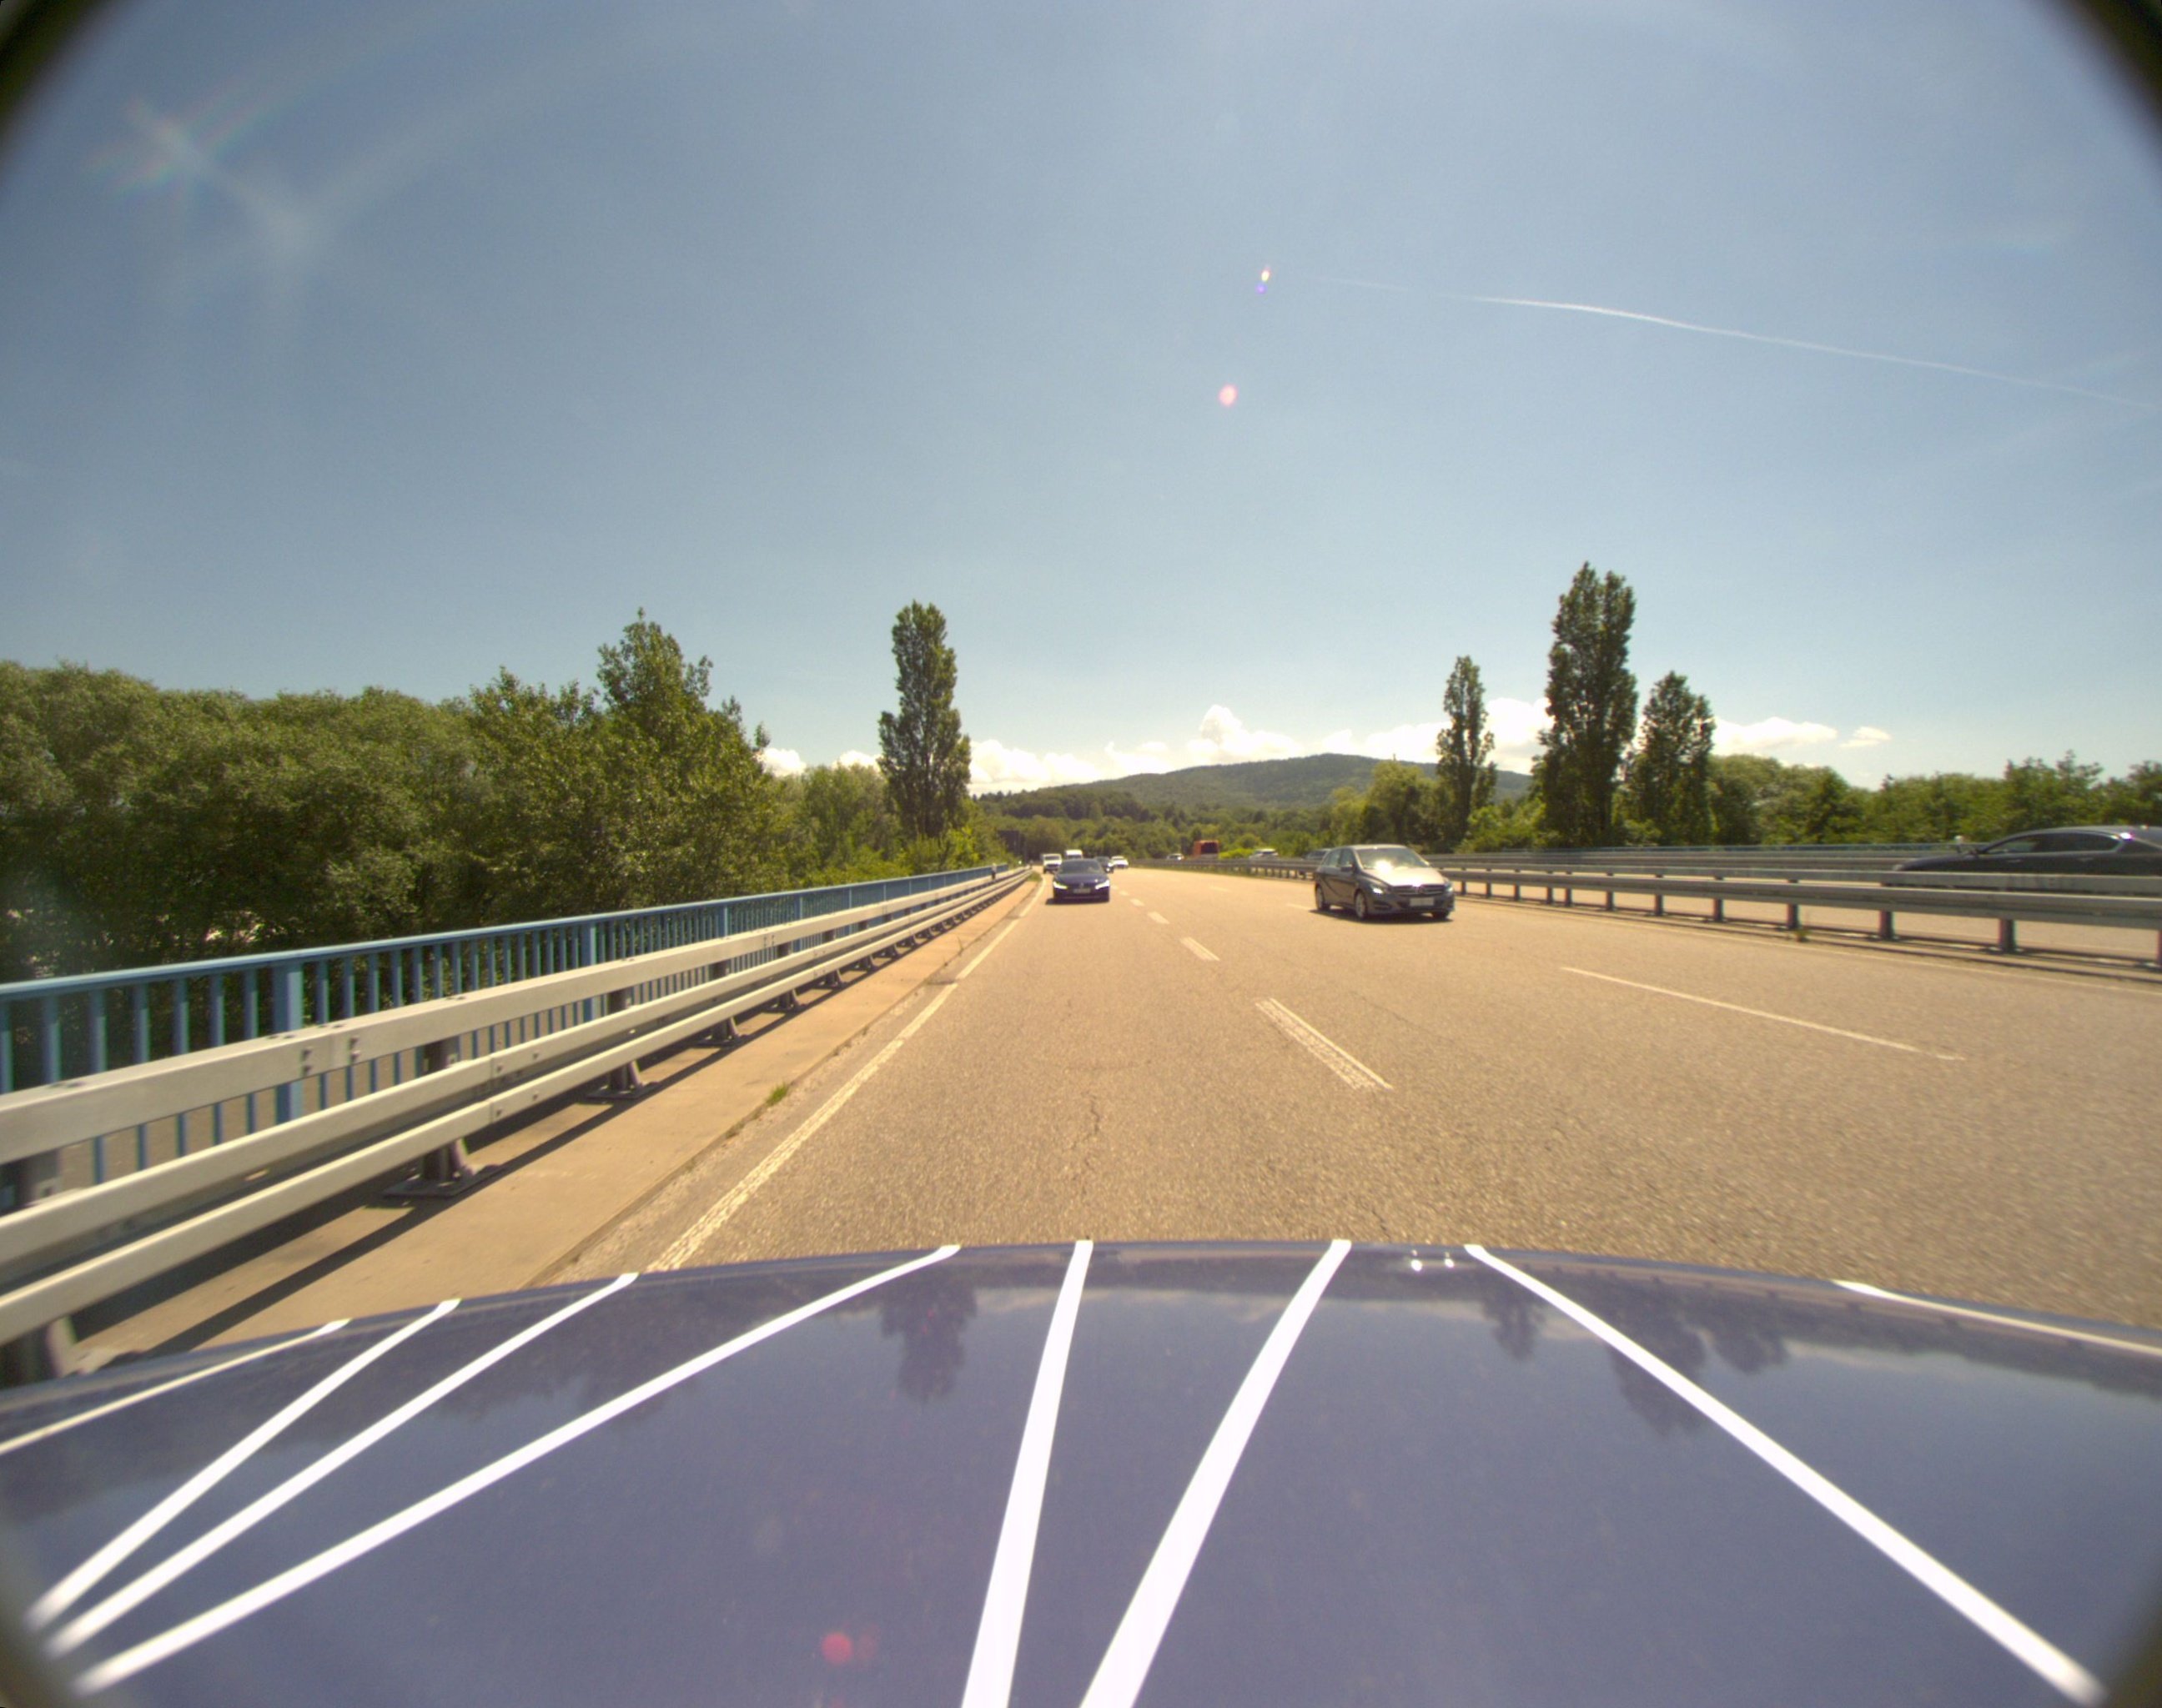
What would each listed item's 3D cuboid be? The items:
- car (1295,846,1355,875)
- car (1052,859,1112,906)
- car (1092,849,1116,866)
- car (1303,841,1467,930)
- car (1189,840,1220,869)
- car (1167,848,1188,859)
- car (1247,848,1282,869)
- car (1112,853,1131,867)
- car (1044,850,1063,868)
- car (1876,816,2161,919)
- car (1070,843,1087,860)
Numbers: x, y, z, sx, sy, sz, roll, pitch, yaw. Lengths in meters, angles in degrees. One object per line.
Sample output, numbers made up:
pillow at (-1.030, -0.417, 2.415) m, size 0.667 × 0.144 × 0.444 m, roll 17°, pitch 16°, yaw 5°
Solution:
car at (13.942, 0.367, 43.675) m, size 1.909 × 1.496 × 4.683 m, roll -2°, pitch 0°, yaw 0°
car at (-0.006, 0.908, 26.219) m, size 1.846 × 1.399 × 4.469 m, roll -3°, pitch 0°, yaw -1°
car at (2.014, 0.322, 68.102) m, size 1.846 × 1.400 × 4.468 m, roll -2°, pitch 1°, yaw -2°
car at (6.493, 0.593, 16.841) m, size 1.797 × 1.658 × 4.554 m, roll -2°, pitch 0°, yaw 0°
car at (14.666, 0.041, 90.388) m, size 2.311 × 3.272 × 7.026 m, roll -1°, pitch 0°, yaw -2°
car at (13.415, -0.051, 105.757) m, size 1.858 × 1.424 × 4.792 m, roll -1°, pitch 0°, yaw -5°
car at (16.685, 0.367, 69.339) m, size 1.858 × 1.808 × 4.793 m, roll -1°, pitch 1°, yaw -2°
car at (4.658, 0.696, 88.493) m, size 1.846 × 1.400 × 4.468 m, roll -2°, pitch 1°, yaw -1°
car at (-2.828, 0.532, 79.206) m, size 1.885 × 1.724 × 4.468 m, roll -2°, pitch 1°, yaw -1°
car at (18.187, 0.162, 13.975) m, size 1.848 × 1.658 × 5.049 m, roll -1°, pitch 1°, yaw 0°
car at (-0.364, -0.329, 96.417) m, size 2.008 × 1.988 × 4.578 m, roll -2°, pitch 1°, yaw 0°
